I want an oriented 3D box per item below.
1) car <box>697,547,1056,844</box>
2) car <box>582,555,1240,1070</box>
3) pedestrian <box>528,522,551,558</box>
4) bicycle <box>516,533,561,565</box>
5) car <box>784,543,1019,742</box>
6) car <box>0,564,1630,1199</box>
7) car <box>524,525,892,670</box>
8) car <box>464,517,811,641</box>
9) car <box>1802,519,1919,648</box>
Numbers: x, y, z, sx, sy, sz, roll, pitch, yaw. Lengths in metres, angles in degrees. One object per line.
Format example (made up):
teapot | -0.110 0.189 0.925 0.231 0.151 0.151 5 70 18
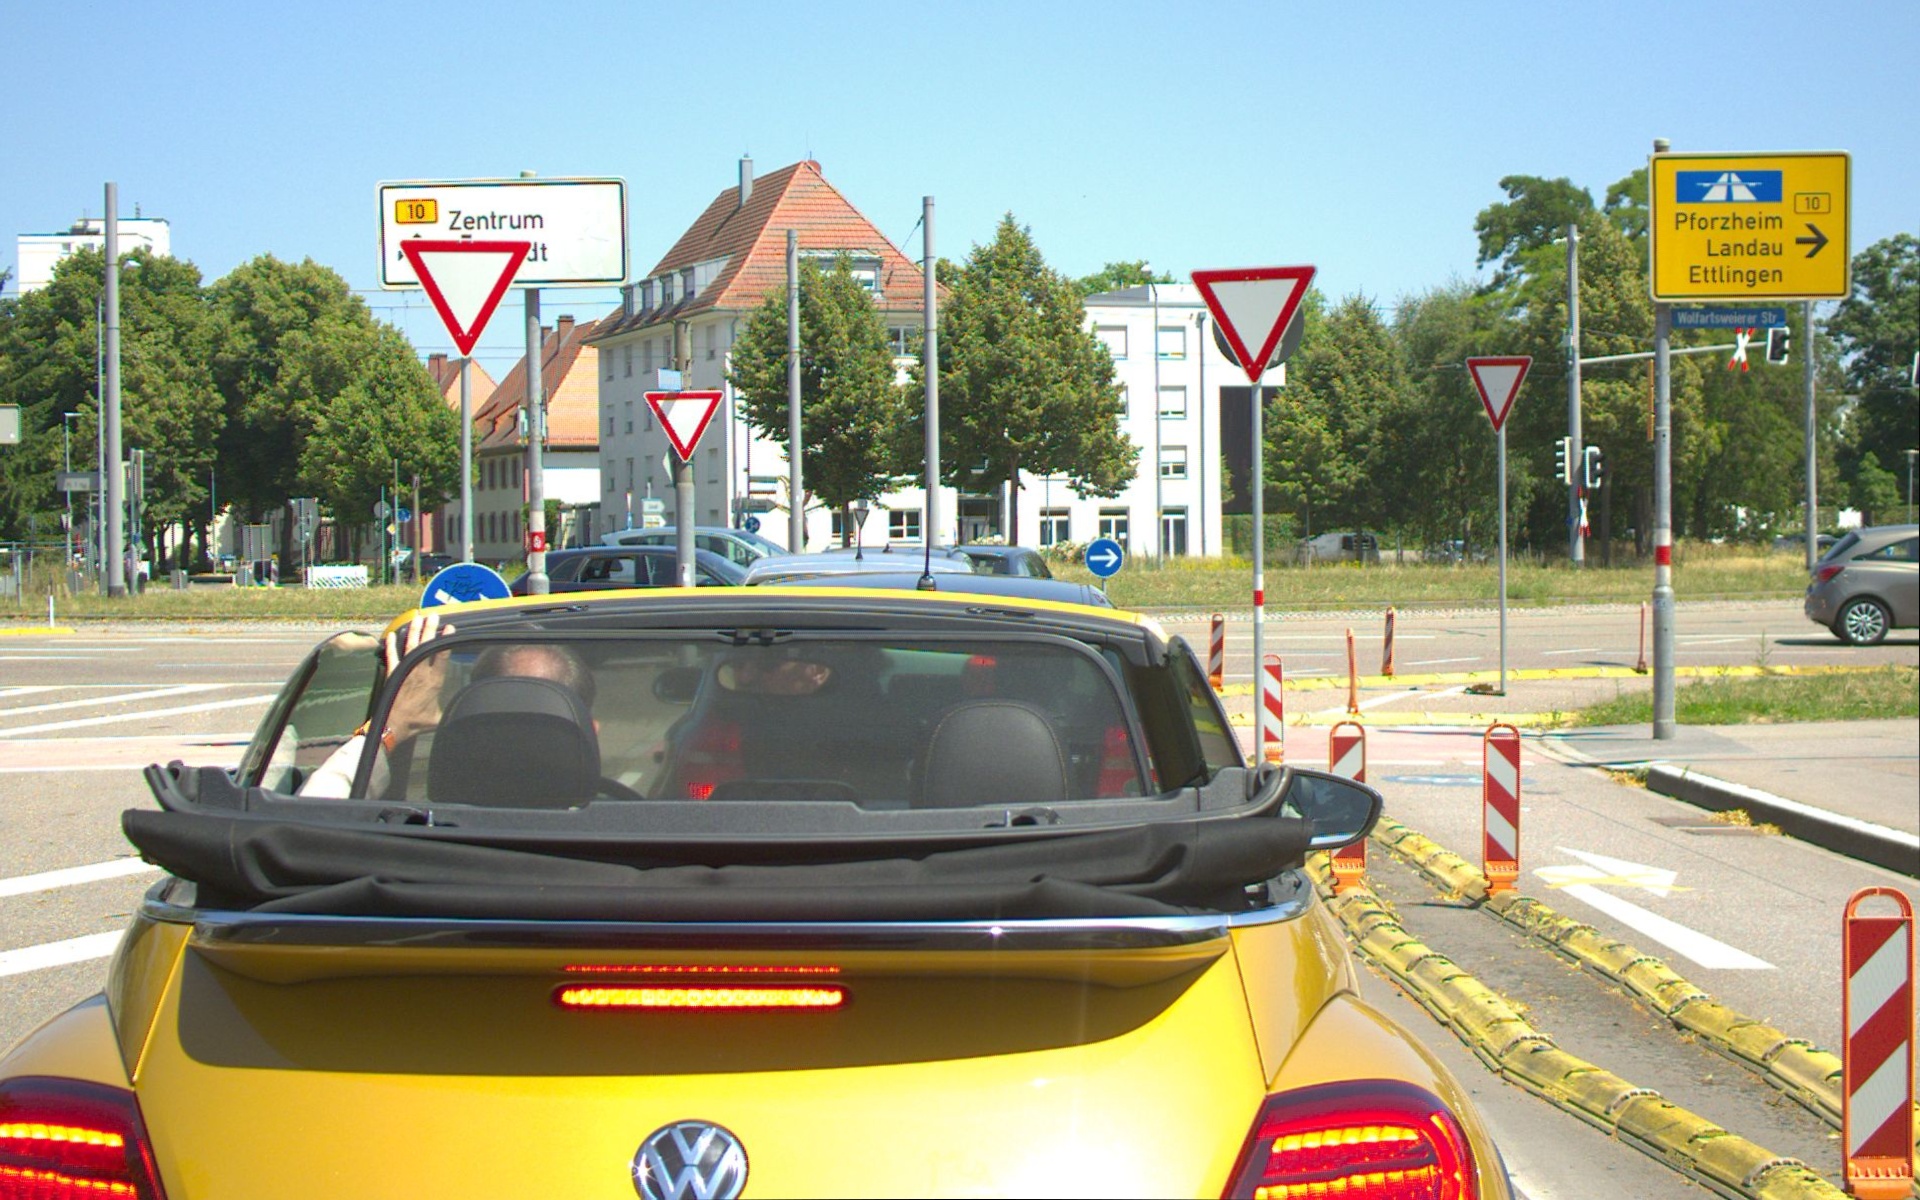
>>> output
car | -0.424 0.436 18.692 1.736 1.437 4.000 0 1 -1
car | -0.156 0.574 11.680 1.848 1.437 4.000 0 1 -1
pedestrian | -14.187 -2.029 115.880 0.675 1.226 0.499 0 1 -19
bicycle | -14.207 -1.721 115.877 1.465 1.067 0.499 0 1 -19
car | -0.452 0.288 27.493 1.736 1.472 4.000 0 1 -1
car | -0.319 0.668 4.900 1.752 1.417 3.778 0 1 -1
car | -2.882 -0.045 39.784 4.000 1.614 1.736 0 1 7
car | -4.010 -0.277 42.989 3.988 1.491 1.800 0 1 10
car | 12.493 -0.284 42.258 3.988 1.491 1.647 -3 0 10
